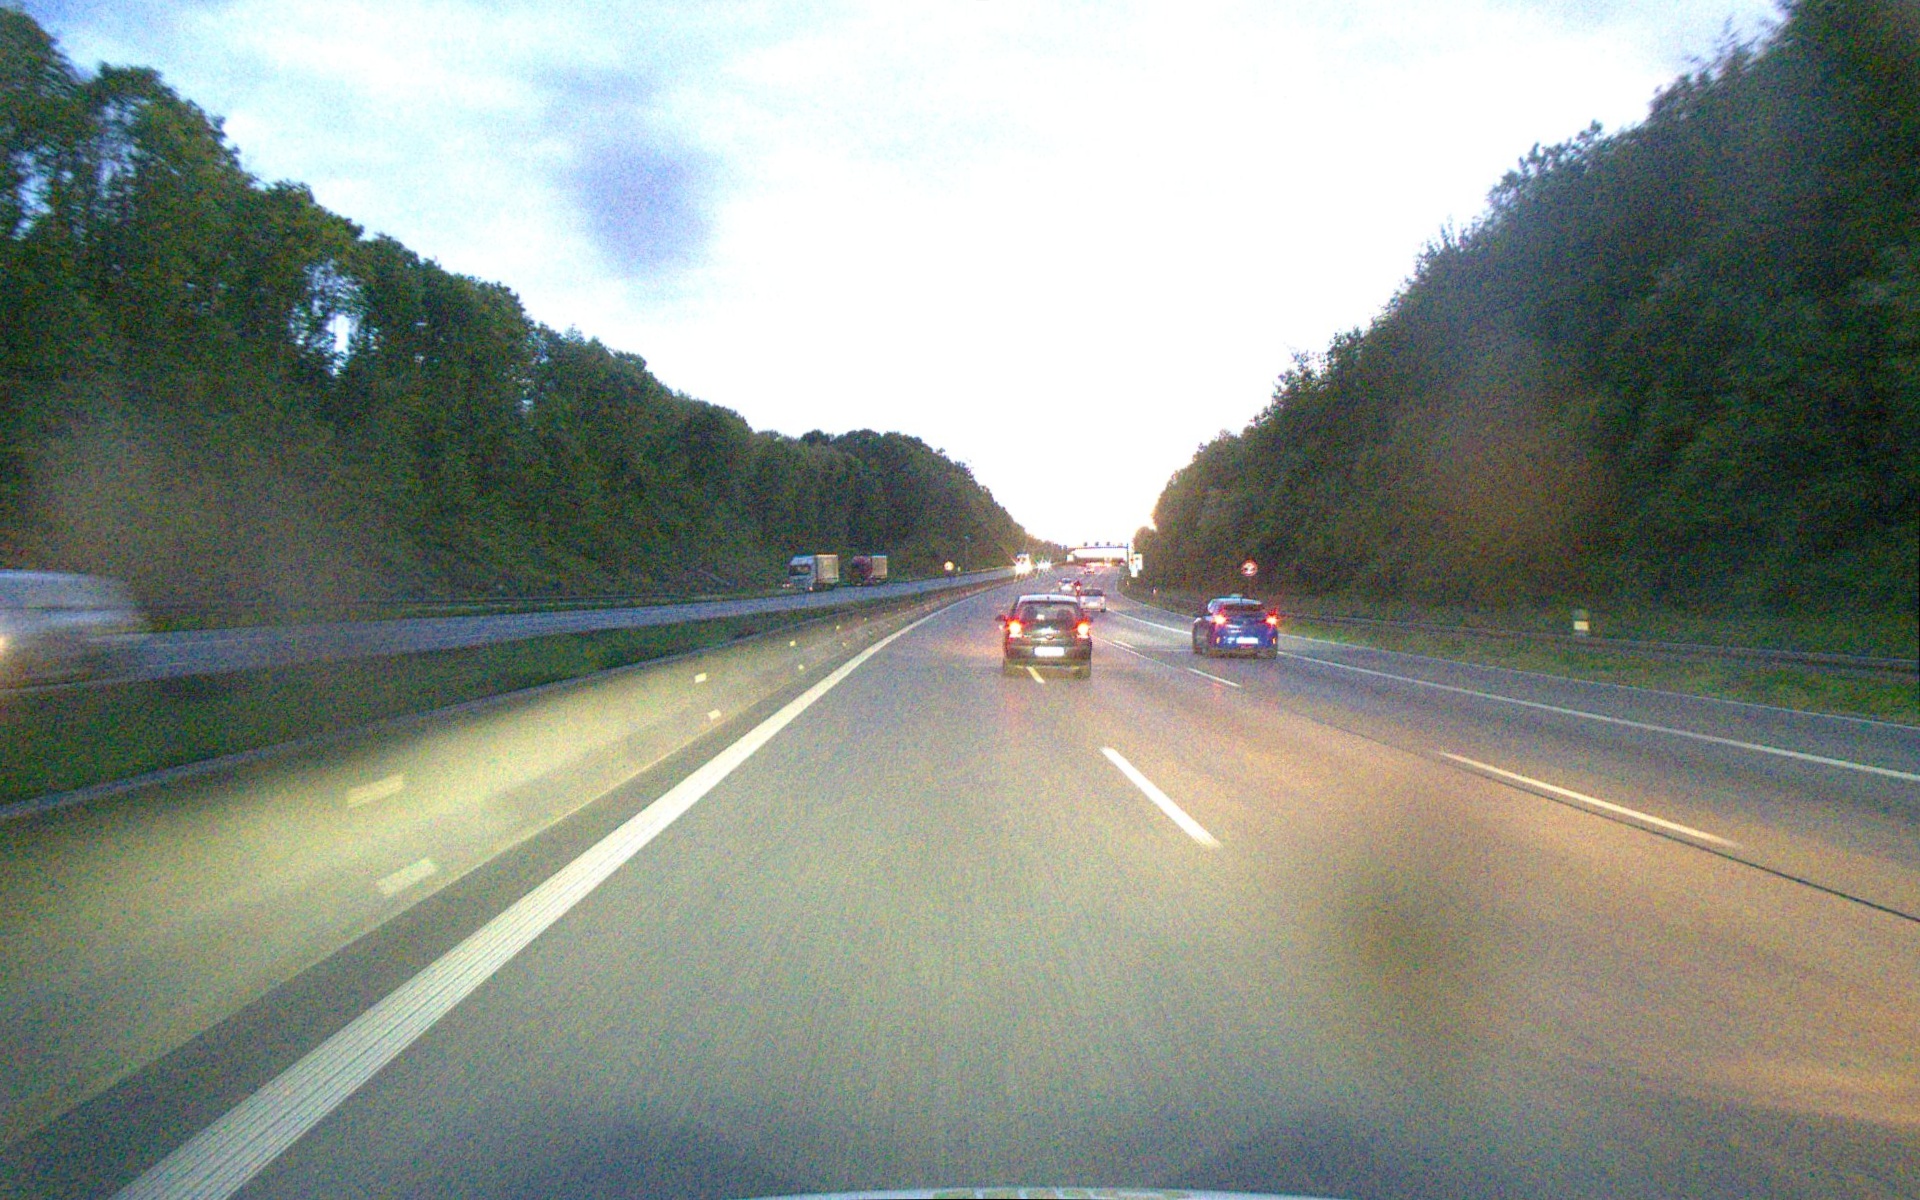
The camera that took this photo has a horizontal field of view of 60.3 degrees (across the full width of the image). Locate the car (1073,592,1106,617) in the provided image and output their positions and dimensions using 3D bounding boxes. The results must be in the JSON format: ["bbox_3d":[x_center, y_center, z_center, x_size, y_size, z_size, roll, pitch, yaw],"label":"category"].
[{"bbox_3d":[8.140,0.292,104.086,1.788,1.501,4.399,1,0,1],"label":"car"}]

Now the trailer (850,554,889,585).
[{"bbox_3d":[-12.701,-4.253,233.419,3.123,4.176,14.195,0,1,6],"label":"trailer"}]

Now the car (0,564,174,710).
[{"bbox_3d":[-10.761,0.360,18.511,1.782,1.505,4.371,1,0,0],"label":"car"}]

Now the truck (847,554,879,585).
[{"bbox_3d":[-13.323,-4.226,227.848,3.123,4.176,7.695,0,1,6],"label":"truck"}]

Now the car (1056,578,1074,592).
[{"bbox_3d":[11.831,-1.687,185.811,1.826,1.520,4.399,1,0,1],"label":"car"}]

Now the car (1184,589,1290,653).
[{"bbox_3d":[6.959,0.490,42.005,1.827,1.460,4.583,1,1,-1],"label":"car"}]

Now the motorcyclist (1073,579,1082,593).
[{"bbox_3d":[11.864,-1.406,166.792,0.812,1.314,1.191,-1,1,5],"label":"motorcyclist"}]

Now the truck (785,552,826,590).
[{"bbox_3d":[-17.411,-3.237,187.104,3.123,4.176,7.695,0,1,6],"label":"truck"}]

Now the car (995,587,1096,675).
[{"bbox_3d":[1.554,0.543,31.390,1.669,1.535,4.232,1,0,0],"label":"car"}]

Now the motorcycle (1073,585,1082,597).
[{"bbox_3d":[11.880,-0.926,166.863,0.812,1.154,2.477,-1,1,5],"label":"motorcycle"}]
